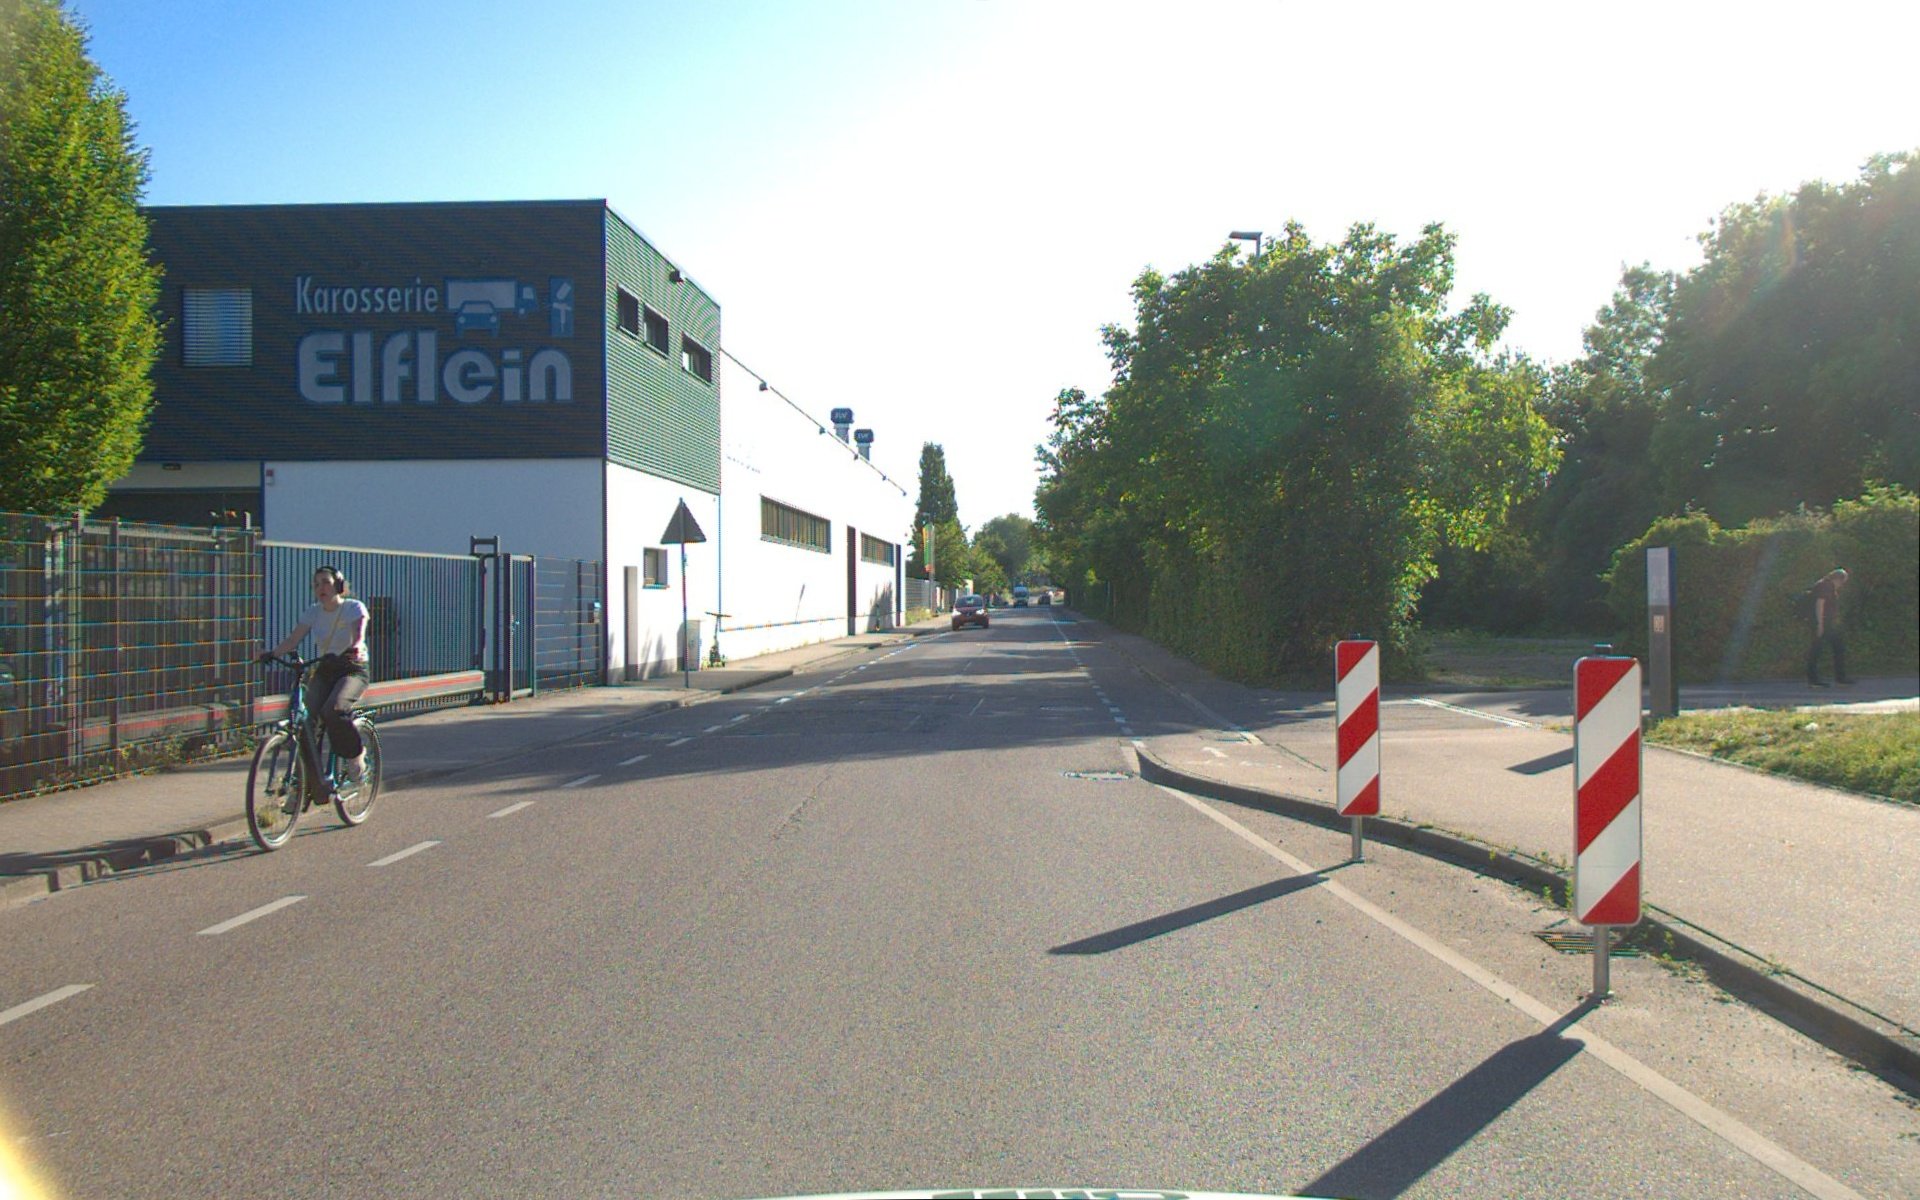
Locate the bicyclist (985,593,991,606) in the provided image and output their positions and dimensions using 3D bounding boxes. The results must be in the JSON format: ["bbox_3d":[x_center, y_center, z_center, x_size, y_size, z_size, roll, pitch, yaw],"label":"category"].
[{"bbox_3d":[3.276,-0.084,194.593,0.675,1.558,0.723,1,0,3],"label":"bicyclist"}]

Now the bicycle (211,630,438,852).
[{"bbox_3d":[-4.250,0.886,11.251,0.653,1.311,2.173,-1,0,1],"label":"bicycle"}]

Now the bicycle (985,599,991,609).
[{"bbox_3d":[3.268,0.461,194.681,0.675,1.052,1.351,1,0,3],"label":"bicycle"}]

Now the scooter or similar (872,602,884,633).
[{"bbox_3d":[-3.541,0.741,71.232,0.407,1.289,1.060,0,0,3],"label":"scooter or similar"}]

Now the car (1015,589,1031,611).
[{"bbox_3d":[8.599,0.018,225.692,2.079,2.829,5.928,-3,0,3],"label":"car"}]

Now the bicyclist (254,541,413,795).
[{"bbox_3d":[-4.243,0.445,11.252,0.731,1.656,0.834,-1,0,1],"label":"bicyclist"}]

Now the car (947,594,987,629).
[{"bbox_3d":[0.375,0.555,79.434,1.780,1.515,4.000,-4,0,1],"label":"car"}]

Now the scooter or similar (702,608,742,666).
[{"bbox_3d":[-5.316,0.816,36.976,0.496,1.224,1.754,3,0,3],"label":"scooter or similar"}]

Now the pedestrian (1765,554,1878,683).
[{"bbox_3d":[12.831,0.263,24.661,1.129,1.823,0.896,-3,0,-1],"label":"pedestrian"}]
